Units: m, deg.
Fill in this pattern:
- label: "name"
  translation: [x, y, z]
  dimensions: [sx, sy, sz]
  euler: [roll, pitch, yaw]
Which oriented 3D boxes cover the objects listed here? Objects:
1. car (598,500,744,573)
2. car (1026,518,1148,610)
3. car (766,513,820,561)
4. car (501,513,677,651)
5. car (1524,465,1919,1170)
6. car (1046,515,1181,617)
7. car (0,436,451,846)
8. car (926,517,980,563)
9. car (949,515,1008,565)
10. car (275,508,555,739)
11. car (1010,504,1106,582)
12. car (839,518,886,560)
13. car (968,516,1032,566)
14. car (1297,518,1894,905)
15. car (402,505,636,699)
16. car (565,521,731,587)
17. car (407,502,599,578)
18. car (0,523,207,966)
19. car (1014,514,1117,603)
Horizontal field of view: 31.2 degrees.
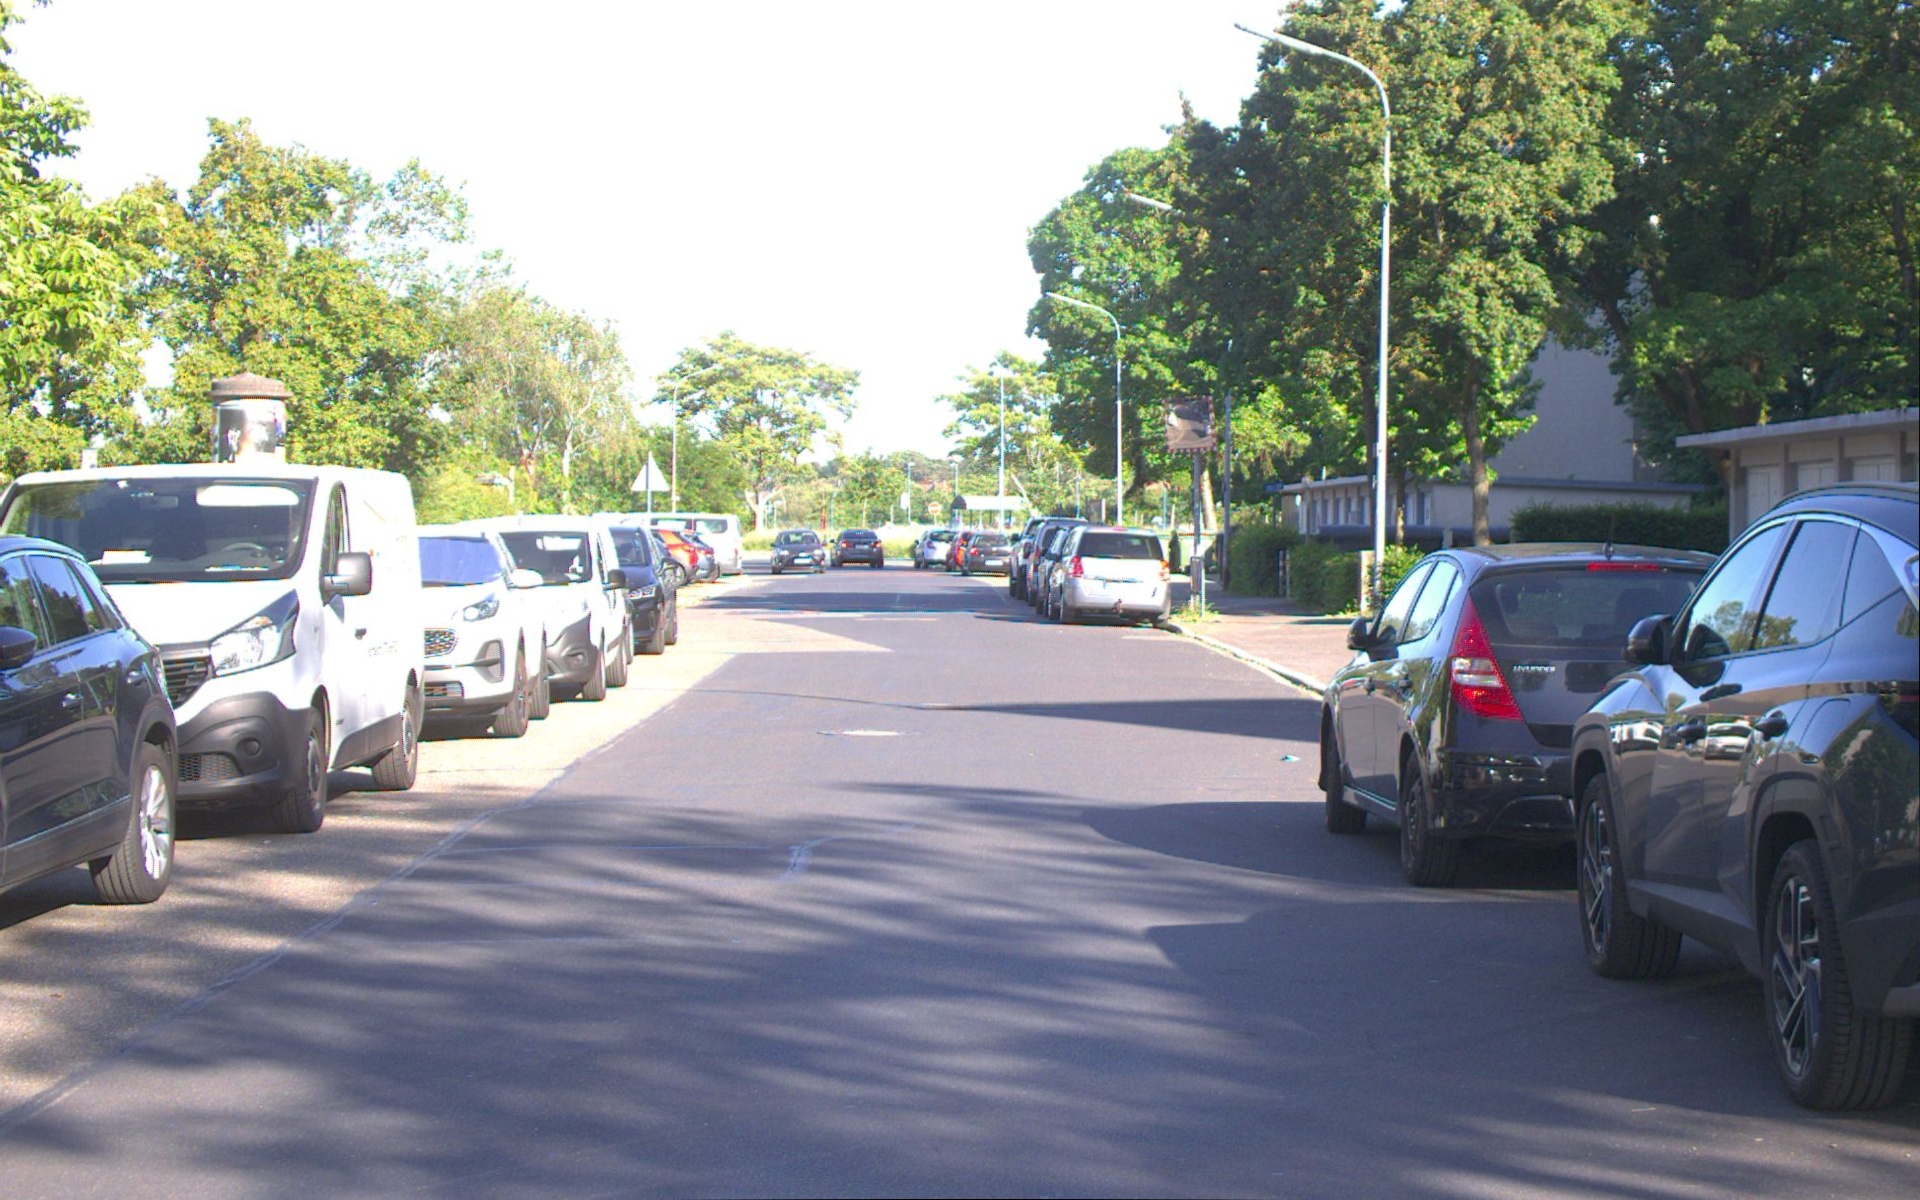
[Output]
- label: "car"
  translation: [-8.261, -1.823, 98.238]
  dimensions: [4.053, 1.985, 1.802]
  euler: [1, 1, -5]
- label: "car"
  translation: [2.234, -0.663, 61.423]
  dimensions: [1.795, 1.556, 3.952]
  euler: [1, 1, -3]
- label: "car"
  translation: [-5.710, -2.171, 117.461]
  dimensions: [1.795, 1.556, 3.952]
  euler: [1, 1, -3]
- label: "car"
  translation: [-4.569, -0.267, 42.827]
  dimensions: [1.746, 1.607, 4.308]
  euler: [-1, 1, -1]
- label: "car"
  translation: [3.063, 0.470, 10.287]
  dimensions: [1.908, 1.634, 4.629]
  euler: [1, 1, -1]
- label: "car"
  translation: [2.469, -0.581, 56.180]
  dimensions: [1.795, 1.556, 3.952]
  euler: [1, 1, -3]
- label: "car"
  translation: [-4.164, 0.141, 19.093]
  dimensions: [1.915, 1.956, 5.088]
  euler: [-1, 1, 0]
- label: "car"
  translation: [-0.294, -2.270, 128.827]
  dimensions: [1.795, 1.638, 3.952]
  euler: [1, 1, -3]
- label: "car"
  translation: [0.629, -2.090, 118.727]
  dimensions: [1.795, 1.638, 3.952]
  euler: [1, 1, -3]
- label: "car"
  translation: [-4.229, 0.119, 27.269]
  dimensions: [1.746, 1.664, 4.379]
  euler: [-1, 1, -3]
- label: "car"
  translation: [2.161, -1.286, 76.619]
  dimensions: [1.795, 1.638, 3.952]
  euler: [1, 1, -3]
- label: "car"
  translation: [-3.763, -2.352, 132.116]
  dimensions: [1.679, 1.508, 4.105]
  euler: [2, 1, -3]
- label: "car"
  translation: [1.278, -1.928, 111.435]
  dimensions: [1.795, 1.543, 3.952]
  euler: [1, 1, -3]
- label: "car"
  translation: [2.780, 0.401, 16.058]
  dimensions: [1.908, 1.525, 4.328]
  euler: [1, 1, -1]
- label: "car"
  translation: [-4.163, -0.027, 32.979]
  dimensions: [1.746, 1.726, 4.006]
  euler: [-1, 1, -1]
- label: "car"
  translation: [-7.767, -1.154, 85.660]
  dimensions: [4.053, 1.556, 1.802]
  euler: [1, 1, -5]
- label: "car"
  translation: [-9.963, -1.316, 75.209]
  dimensions: [4.053, 1.556, 1.802]
  euler: [1, 1, -5]
- label: "car"
  translation: [-4.185, 0.496, 12.736]
  dimensions: [1.746, 1.528, 4.139]
  euler: [-1, 1, 2]
- label: "car"
  translation: [2.181, -0.889, 71.936]
  dimensions: [1.795, 1.780, 3.952]
  euler: [1, 1, -3]
